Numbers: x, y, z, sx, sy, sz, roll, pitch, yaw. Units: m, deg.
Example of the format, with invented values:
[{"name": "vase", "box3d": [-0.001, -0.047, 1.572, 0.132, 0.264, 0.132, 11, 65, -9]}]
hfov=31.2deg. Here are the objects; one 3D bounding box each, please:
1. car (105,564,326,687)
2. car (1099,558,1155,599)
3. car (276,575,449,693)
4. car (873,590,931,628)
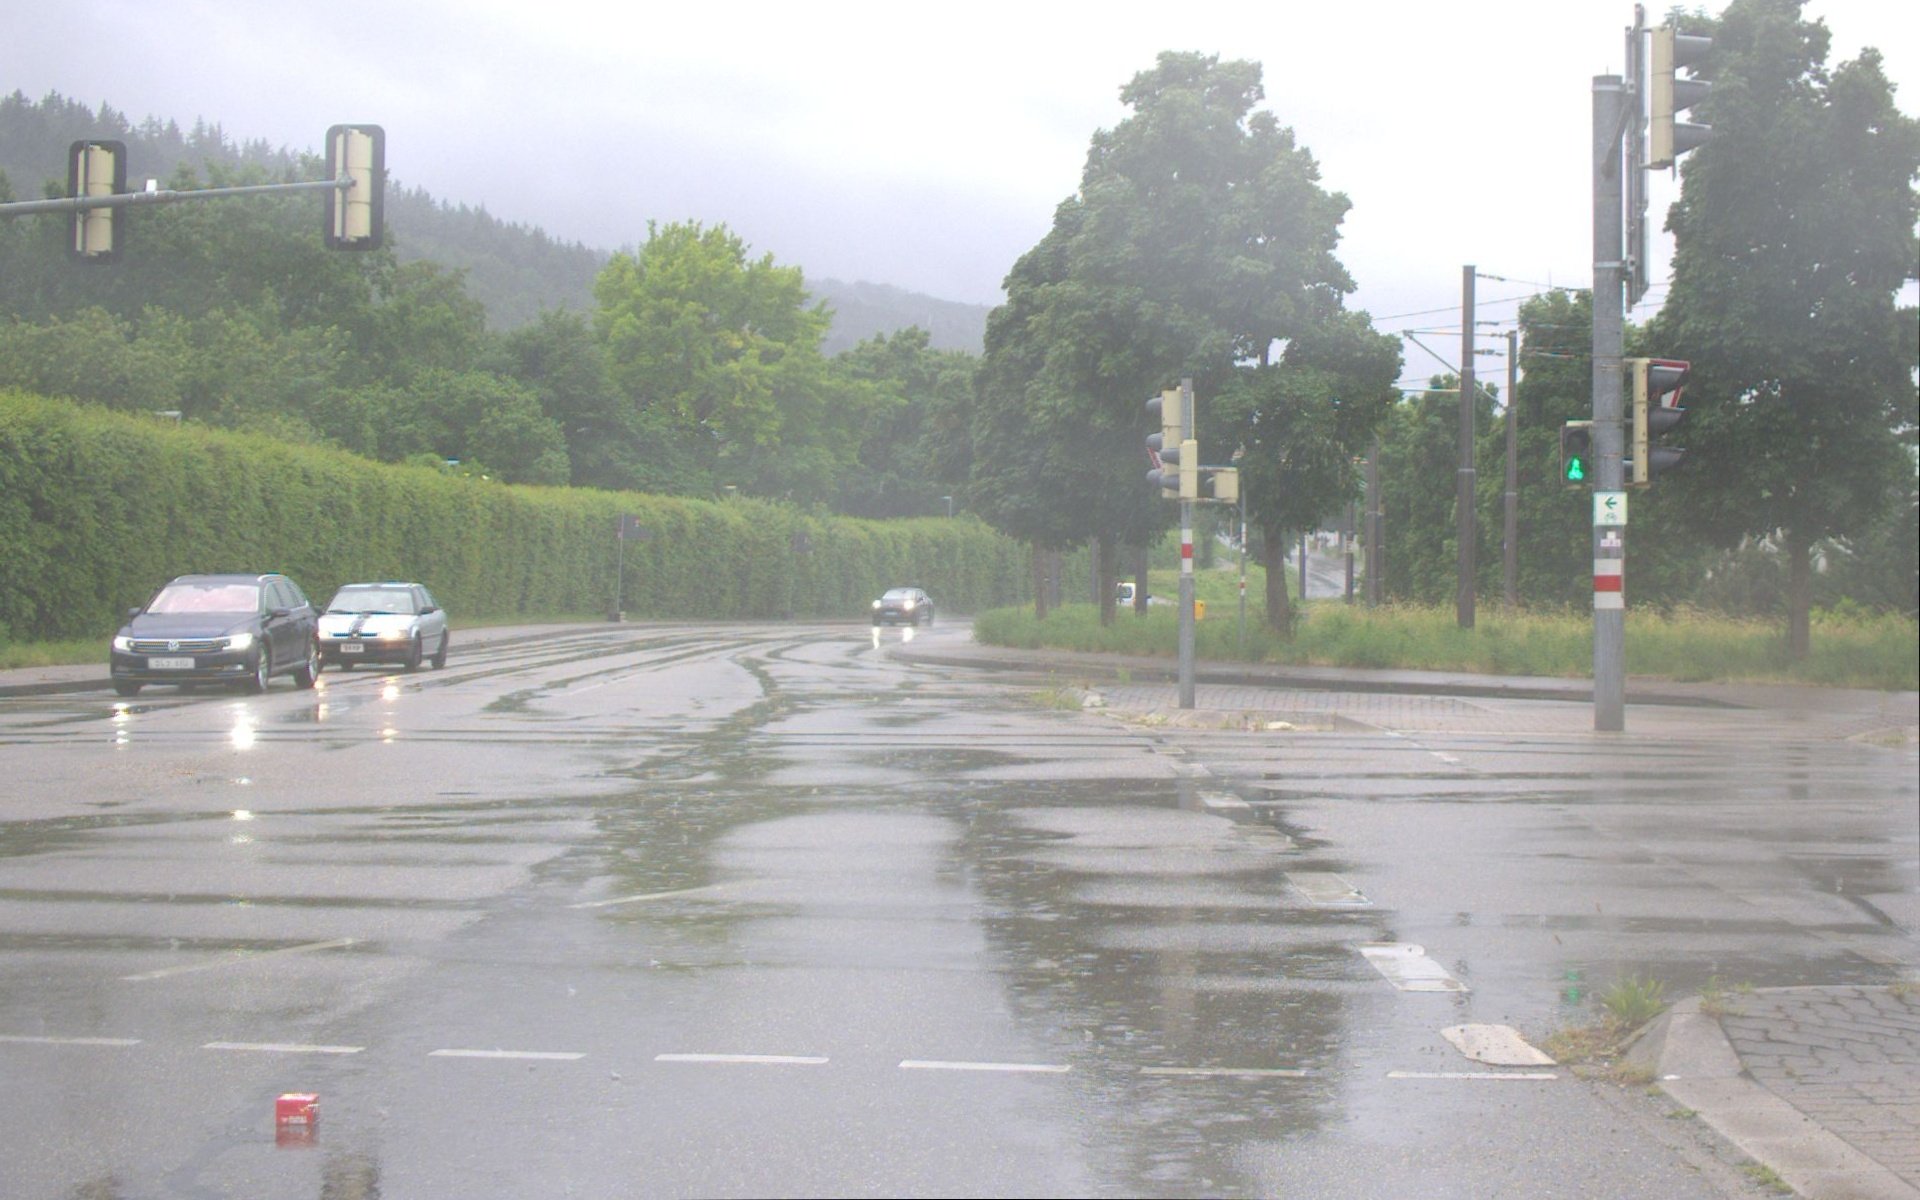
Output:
[{"name": "car", "box3d": [-9.350, 0.287, 43.486, 1.708, 1.461, 4.453, 0, 1, 2]}, {"name": "car", "box3d": [7.938, -1.022, 163.242, 1.954, 1.897, 4.118, 0, 1, 13]}, {"name": "car", "box3d": [-9.289, 0.498, 53.751, 2.036, 1.702, 4.066, 1, 1, -1]}, {"name": "car", "box3d": [-2.299, 0.359, 137.062, 1.785, 1.499, 4.060, 0, 0, 7]}]
